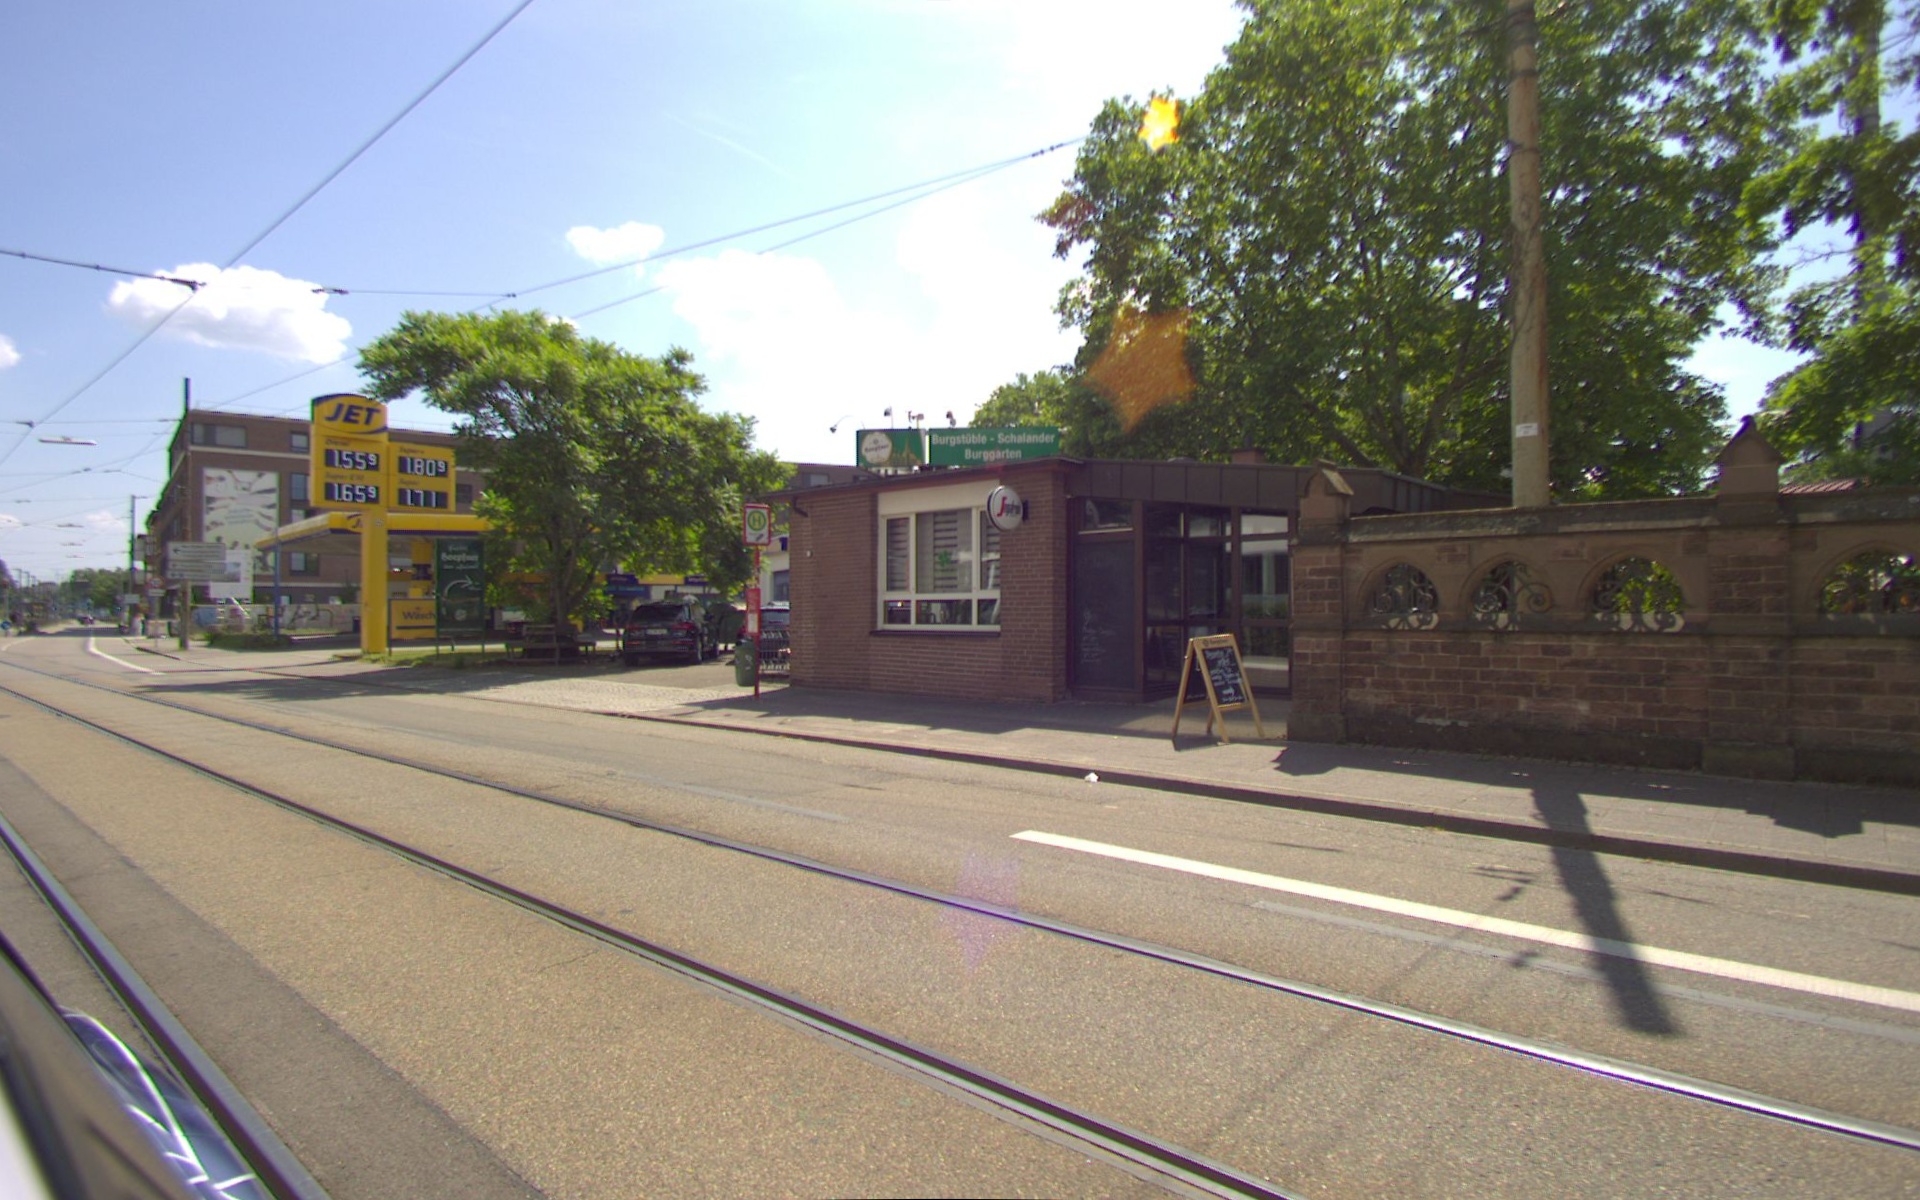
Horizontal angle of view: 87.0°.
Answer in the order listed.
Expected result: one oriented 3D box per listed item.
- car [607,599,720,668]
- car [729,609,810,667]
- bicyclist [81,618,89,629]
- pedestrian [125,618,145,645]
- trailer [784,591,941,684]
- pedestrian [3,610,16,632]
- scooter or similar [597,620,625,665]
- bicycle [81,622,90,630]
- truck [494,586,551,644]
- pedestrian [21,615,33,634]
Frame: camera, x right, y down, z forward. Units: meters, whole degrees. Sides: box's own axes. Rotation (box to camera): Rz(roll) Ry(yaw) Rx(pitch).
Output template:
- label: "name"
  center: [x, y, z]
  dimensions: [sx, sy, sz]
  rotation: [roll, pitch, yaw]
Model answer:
- label: "car"
  center: [-7.531, 0.816, 26.159]
  dimensions: [1.970, 1.602, 4.338]
  rotation: [0, -1, -5]
- label: "car"
  center: [-5.010, 0.964, 27.101]
  dimensions: [1.880, 1.405, 4.340]
  rotation: [-1, -1, -7]
- label: "bicyclist"
  center: [-126.682, 3.363, 146.486]
  dimensions: [1.065, 1.516, 0.750]
  rotation: [-1, -1, 43]
- label: "pedestrian"
  center: [-51.532, 1.980, 63.213]
  dimensions: [1.000, 1.608, 0.752]
  rotation: [-1, 2, 44]
- label: "trailer"
  center: [-1.920, 0.707, 20.403]
  dimensions: [1.621, 1.716, 2.800]
  rotation: [-1, -1, 42]
- label: "pedestrian"
  center: [-76.853, 1.728, 81.850]
  dimensions: [0.677, 1.773, 1.035]
  rotation: [2, -2, -42]
- label: "scooter or similar"
  center: [-9.352, 1.127, 27.166]
  dimensions: [0.400, 1.183, 1.362]
  rotation: [-1, -1, -5]
- label: "bicycle"
  center: [-126.549, 3.738, 146.408]
  dimensions: [0.807, 1.232, 2.390]
  rotation: [2, -2, -45]
- label: "truck"
  center: [-20.329, 0.672, 47.192]
  dimensions: [1.966, 2.517, 5.219]
  rotation: [0, 0, -18]
- label: "pedestrian"
  center: [-87.141, 2.278, 94.490]
  dimensions: [0.751, 1.708, 0.810]
  rotation: [2, -2, -42]
